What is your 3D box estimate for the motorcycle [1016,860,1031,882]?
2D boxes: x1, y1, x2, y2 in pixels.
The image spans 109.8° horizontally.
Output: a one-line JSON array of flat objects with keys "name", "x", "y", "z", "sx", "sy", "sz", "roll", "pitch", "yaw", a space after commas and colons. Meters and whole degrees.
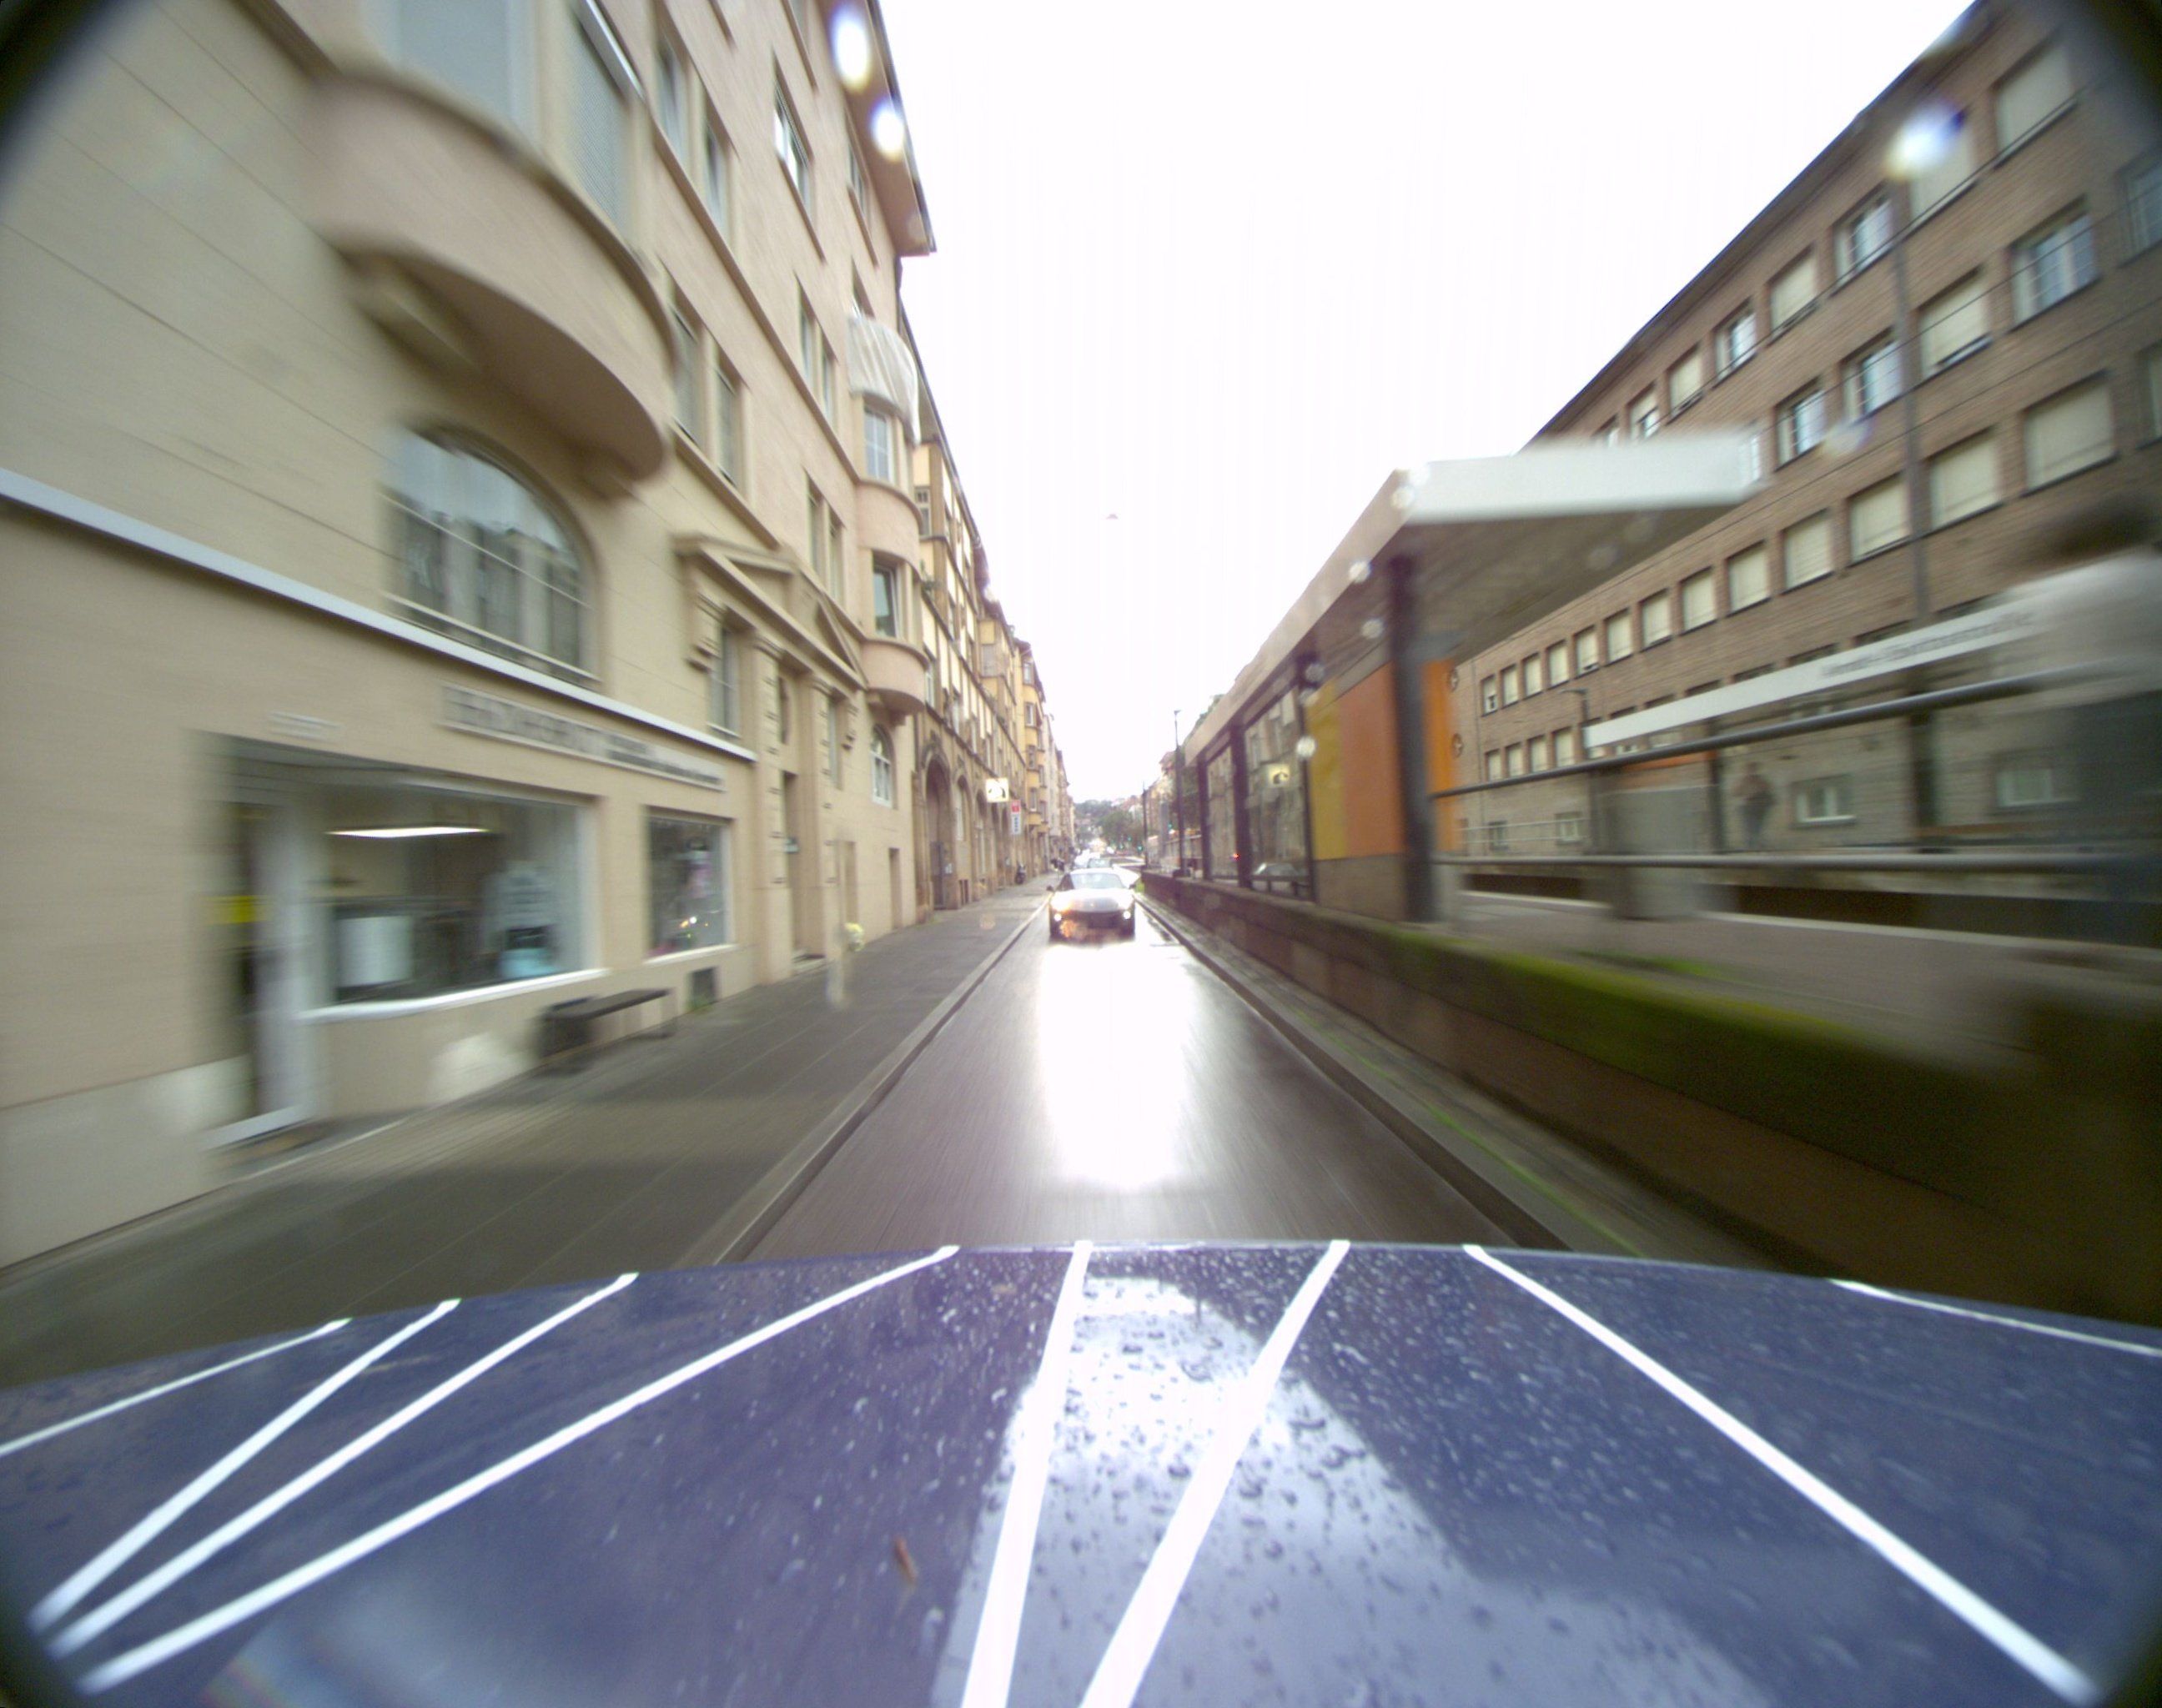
[{"name": "motorcycle", "x": -3.354, "y": 0.986, "z": 44.309, "sx": 0.692, "sy": 1.230, "sz": 1.779, "roll": 3, "pitch": 0, "yaw": 1}]

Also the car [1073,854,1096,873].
[{"name": "car", "x": 0.311, "y": 0.778, "z": 62.734, "sx": 1.633, "sy": 1.443, "sz": 4.000, "roll": -2, "pitch": 0, "yaw": 2}]

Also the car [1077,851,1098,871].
[{"name": "car", "x": 0.629, "y": 0.620, "z": 70.316, "sx": 1.741, "sy": 1.788, "sz": 4.265, "roll": -2, "pitch": 0, "yaw": 2}]

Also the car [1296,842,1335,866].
[{"name": "car", "x": 15.331, "y": 0.015, "z": 49.737, "sx": 1.648, "sy": 1.457, "sz": 3.111, "roll": -2, "pitch": 0, "yaw": 2}]

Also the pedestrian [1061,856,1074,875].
[{"name": "pedestrian", "x": -1.286, "y": 1.103, "z": 71.875, "sx": 1.125, "sy": 1.703, "sz": 1.102, "roll": -3, "pitch": 1, "yaw": 3}]

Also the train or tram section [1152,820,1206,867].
[{"name": "train or tram section", "x": 9.359, "y": -0.990, "z": 75.017, "sx": 2.721, "sy": 3.898, "sz": 19.860, "roll": -3, "pitch": 0, "yaw": 0}]

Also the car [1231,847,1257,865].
[{"name": "car", "x": 16.110, "y": 0.221, "z": 75.409, "sx": 1.648, "sy": 1.696, "sz": 4.098, "roll": -2, "pitch": 0, "yaw": 0}]

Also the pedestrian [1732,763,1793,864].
[{"name": "pedestrian", "x": 11.759, "y": -0.691, "z": 13.122, "sx": 0.588, "sy": 1.699, "sz": 0.491, "roll": -1, "pitch": 1, "yaw": 0}]

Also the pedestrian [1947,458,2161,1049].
[{"name": "pedestrian", "x": 3.564, "y": -0.306, "z": 2.465, "sx": 0.645, "sy": 1.764, "sz": 0.710, "roll": -3, "pitch": 1, "yaw": 1}]

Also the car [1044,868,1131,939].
[{"name": "car", "x": 0.226, "y": 1.039, "z": 17.437, "sx": 1.704, "sy": 1.280, "sz": 4.196, "roll": -2, "pitch": 0, "yaw": 2}]

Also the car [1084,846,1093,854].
[{"name": "car", "x": 2.005, "y": -1.047, "z": 189.737, "sx": 1.998, "sy": 1.761, "sz": 4.000, "roll": -3, "pitch": 1, "yaw": 3}]

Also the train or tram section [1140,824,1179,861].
[{"name": "train or tram section", "x": 9.456, "y": -1.339, "z": 93.608, "sx": 2.721, "sy": 3.898, "sz": 19.296, "roll": -3, "pitch": 0, "yaw": 0}]

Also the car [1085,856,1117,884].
[{"name": "car", "x": 1.086, "y": 0.869, "z": 42.109, "sx": 1.689, "sy": 1.451, "sz": 3.299, "roll": -1, "pitch": 0, "yaw": 1}]
